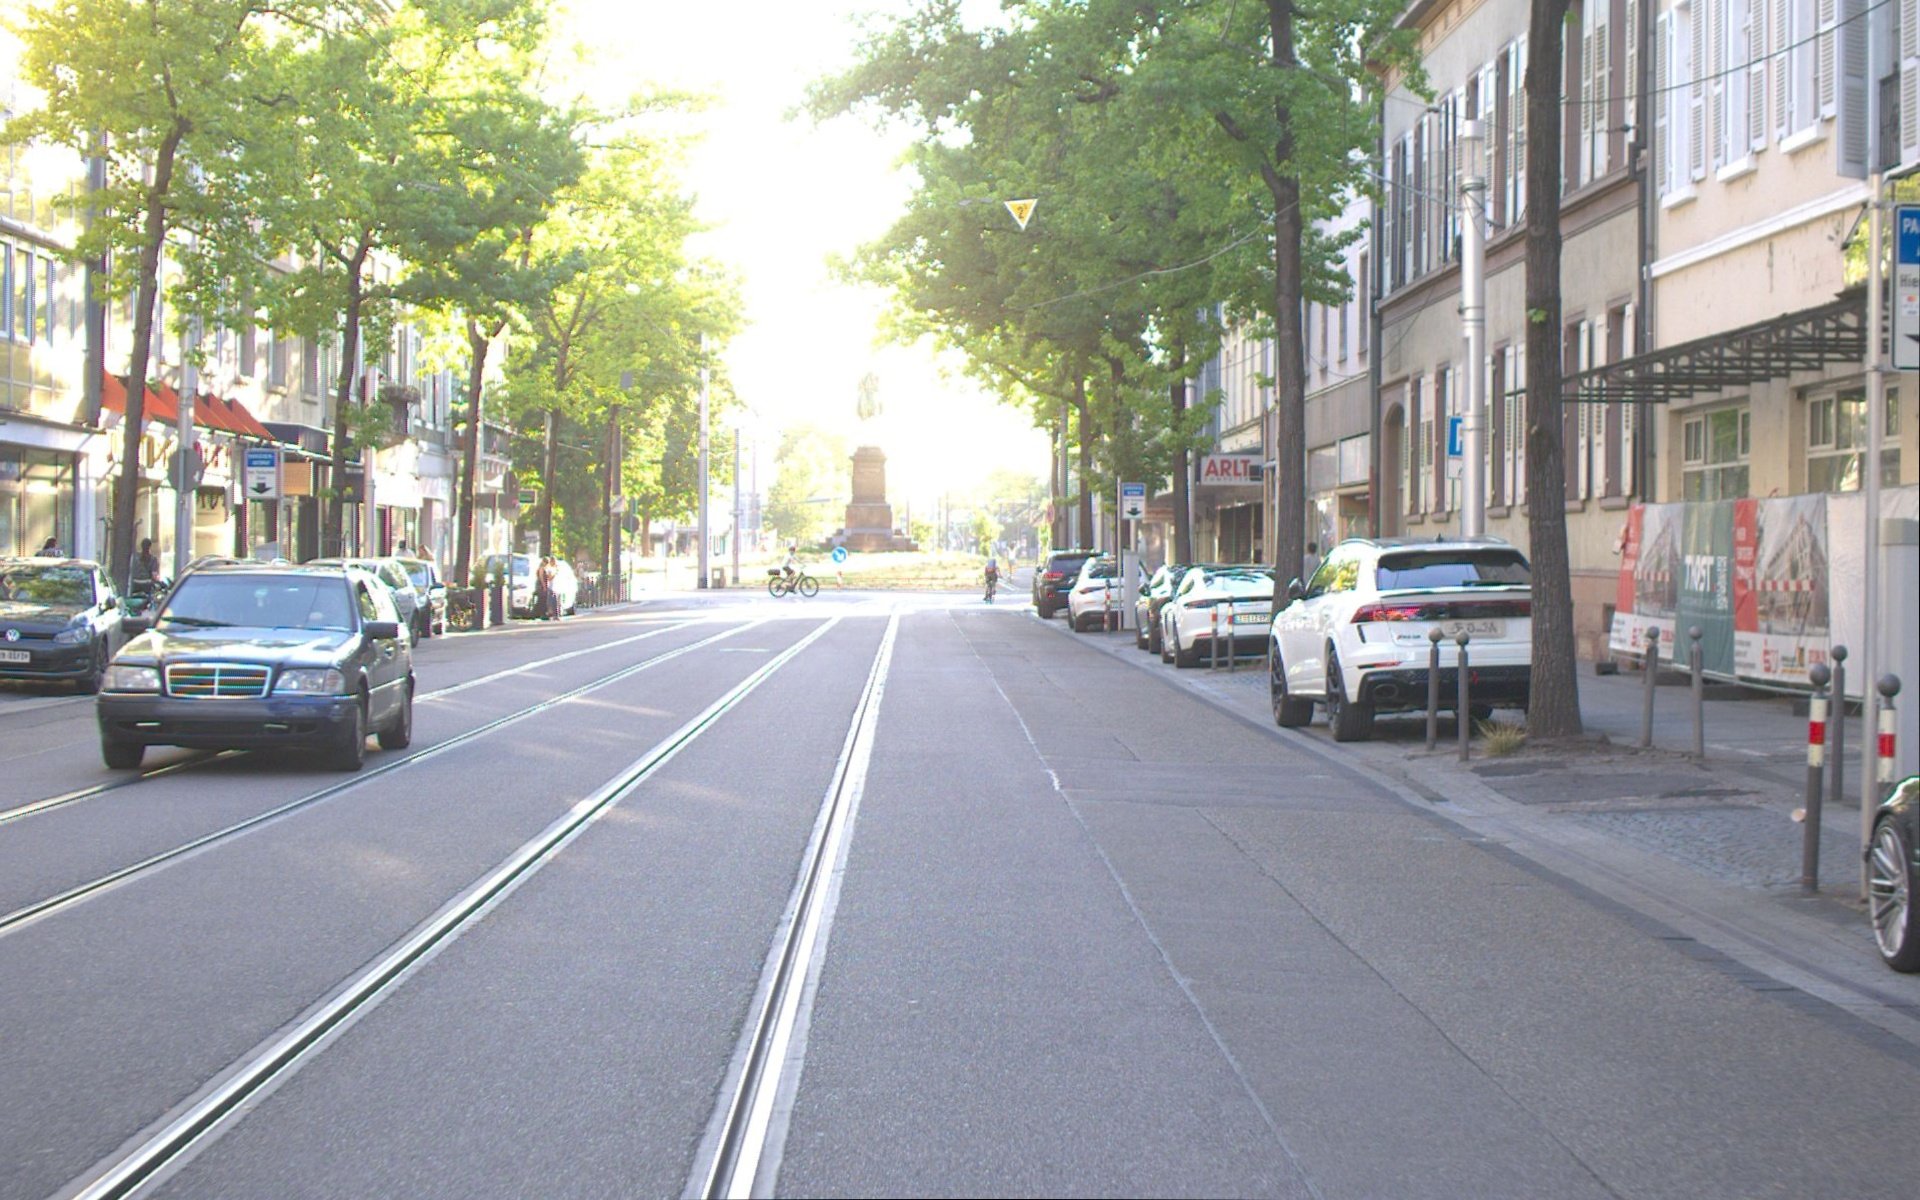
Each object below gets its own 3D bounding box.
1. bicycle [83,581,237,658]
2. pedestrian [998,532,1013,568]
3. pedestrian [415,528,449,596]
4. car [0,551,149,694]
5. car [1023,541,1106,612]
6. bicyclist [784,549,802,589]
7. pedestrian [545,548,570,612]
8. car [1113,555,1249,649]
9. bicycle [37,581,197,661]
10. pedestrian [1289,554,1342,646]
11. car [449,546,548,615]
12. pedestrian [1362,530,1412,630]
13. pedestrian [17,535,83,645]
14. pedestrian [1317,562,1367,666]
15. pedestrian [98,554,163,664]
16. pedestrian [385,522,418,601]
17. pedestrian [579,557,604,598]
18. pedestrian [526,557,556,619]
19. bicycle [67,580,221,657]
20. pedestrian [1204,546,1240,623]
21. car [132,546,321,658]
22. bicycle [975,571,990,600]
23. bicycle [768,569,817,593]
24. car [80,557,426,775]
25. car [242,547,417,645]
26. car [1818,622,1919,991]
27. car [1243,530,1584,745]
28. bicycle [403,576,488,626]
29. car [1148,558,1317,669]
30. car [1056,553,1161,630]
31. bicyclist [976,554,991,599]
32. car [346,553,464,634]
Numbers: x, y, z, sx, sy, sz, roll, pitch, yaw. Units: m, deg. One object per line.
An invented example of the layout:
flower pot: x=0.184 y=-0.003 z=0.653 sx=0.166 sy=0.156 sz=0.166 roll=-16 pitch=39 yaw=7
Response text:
bicycle: x=-10.607 y=0.256 z=45.605 sx=1.971 sy=0.998 sz=0.330 roll=1 pitch=1 yaw=2
pedestrian: x=2.049 y=-2.258 z=154.346 sx=0.636 sy=1.600 sz=0.772 roll=0 pitch=1 yaw=-3
pedestrian: x=-13.595 y=-0.983 z=88.514 sx=0.722 sy=1.754 sz=1.090 roll=1 pitch=1 yaw=-1
car: x=-10.400 y=0.211 z=39.071 sx=1.791 sy=1.485 sz=4.243 roll=2 pitch=1 yaw=-7
car: x=2.772 y=-0.640 z=92.144 sx=1.938 sy=1.753 sz=4.680 roll=-3 pitch=1 yaw=-1
bicyclist: x=-5.978 y=-1.109 z=123.145 sx=0.536 sy=1.433 sz=0.367 roll=1 pitch=1 yaw=14
pedestrian: x=-9.802 y=-0.489 z=83.704 sx=0.521 sy=1.564 sz=0.634 roll=0 pitch=0 yaw=0
car: x=3.706 y=0.003 z=58.400 sx=1.833 sy=1.473 sz=4.762 roll=-2 pitch=1 yaw=-2
bicycle: x=-10.764 y=0.262 z=43.910 sx=1.971 sy=0.998 sz=0.330 roll=1 pitch=1 yaw=2
pedestrian: x=6.941 y=-0.008 z=67.172 sx=0.858 sy=1.747 sz=0.933 roll=-3 pitch=1 yaw=-1
car: x=-11.495 y=-0.501 z=85.815 sx=1.836 sy=1.575 sz=4.116 roll=4 pitch=1 yaw=0
pedestrian: x=7.182 y=-0.339 z=57.880 sx=0.658 sy=1.659 sz=0.888 roll=-2 pitch=1 yaw=-2
pedestrian: x=-14.022 y=-0.157 z=52.967 sx=0.789 sy=1.687 sz=0.914 roll=0 pitch=1 yaw=-1
pedestrian: x=5.822 y=0.208 z=52.397 sx=0.649 sy=1.568 sz=0.798 roll=1 pitch=1 yaw=-1
pedestrian: x=-12.865 y=0.136 z=53.315 sx=0.843 sy=1.687 sz=0.740 roll=0 pitch=1 yaw=-1
pedestrian: x=-14.376 y=-0.986 z=88.515 sx=0.722 sy=2.007 sz=0.643 roll=1 pitch=1 yaw=-1
pedestrian: x=-11.680 y=-0.716 z=109.061 sx=0.728 sy=1.286 sz=0.857 roll=1 pitch=1 yaw=-3
pedestrian: x=-10.094 y=-0.289 z=82.867 sx=0.620 sy=1.504 sz=0.729 roll=0 pitch=0 yaw=0
bicycle: x=-10.913 y=0.247 z=45.990 sx=1.971 sy=0.998 sz=0.330 roll=1 pitch=1 yaw=2
pedestrian: x=5.825 y=-0.351 z=76.491 sx=0.643 sy=1.664 sz=0.786 roll=-3 pitch=1 yaw=-1
car: x=-10.360 y=-0.001 z=48.844 sx=1.711 sy=1.456 sz=4.486 roll=2 pitch=1 yaw=-1
bicycle: x=0.758 y=-0.496 z=115.638 sx=0.264 sy=0.979 sz=1.338 roll=1 pitch=1 yaw=10
bicycle: x=-5.999 y=-0.678 z=123.140 sx=1.732 sy=0.861 sz=0.367 roll=1 pitch=1 yaw=14
car: x=-4.976 y=0.405 z=24.756 sx=1.779 sy=1.402 sz=4.528 roll=0 pitch=1 yaw=-3
car: x=-10.128 y=-0.070 z=55.504 sx=1.767 sy=1.492 sz=4.174 roll=1 pitch=0 yaw=4
car: x=4.374 y=0.754 z=11.623 sx=1.794 sy=1.307 sz=4.330 roll=-2 pitch=1 yaw=-1
car: x=3.880 y=0.290 z=30.304 sx=1.997 sy=1.682 sz=4.968 roll=-2 pitch=0 yaw=-4
bicycle: x=-10.535 y=0.019 z=70.399 sx=1.616 sy=0.962 sz=0.432 roll=2 pitch=1 yaw=5
car: x=3.789 y=0.154 z=48.544 sx=1.912 sy=1.415 sz=4.888 roll=-2 pitch=1 yaw=0
car: x=3.171 y=-0.207 z=74.276 sx=1.993 sy=1.493 sz=4.680 roll=-3 pitch=1 yaw=0
bicyclist: x=0.780 y=-0.790 z=115.635 sx=0.428 sy=1.476 sz=0.466 roll=1 pitch=1 yaw=8
car: x=-10.718 y=-0.146 z=66.588 sx=1.665 sy=1.423 sz=3.827 roll=3 pitch=1 yaw=-1
